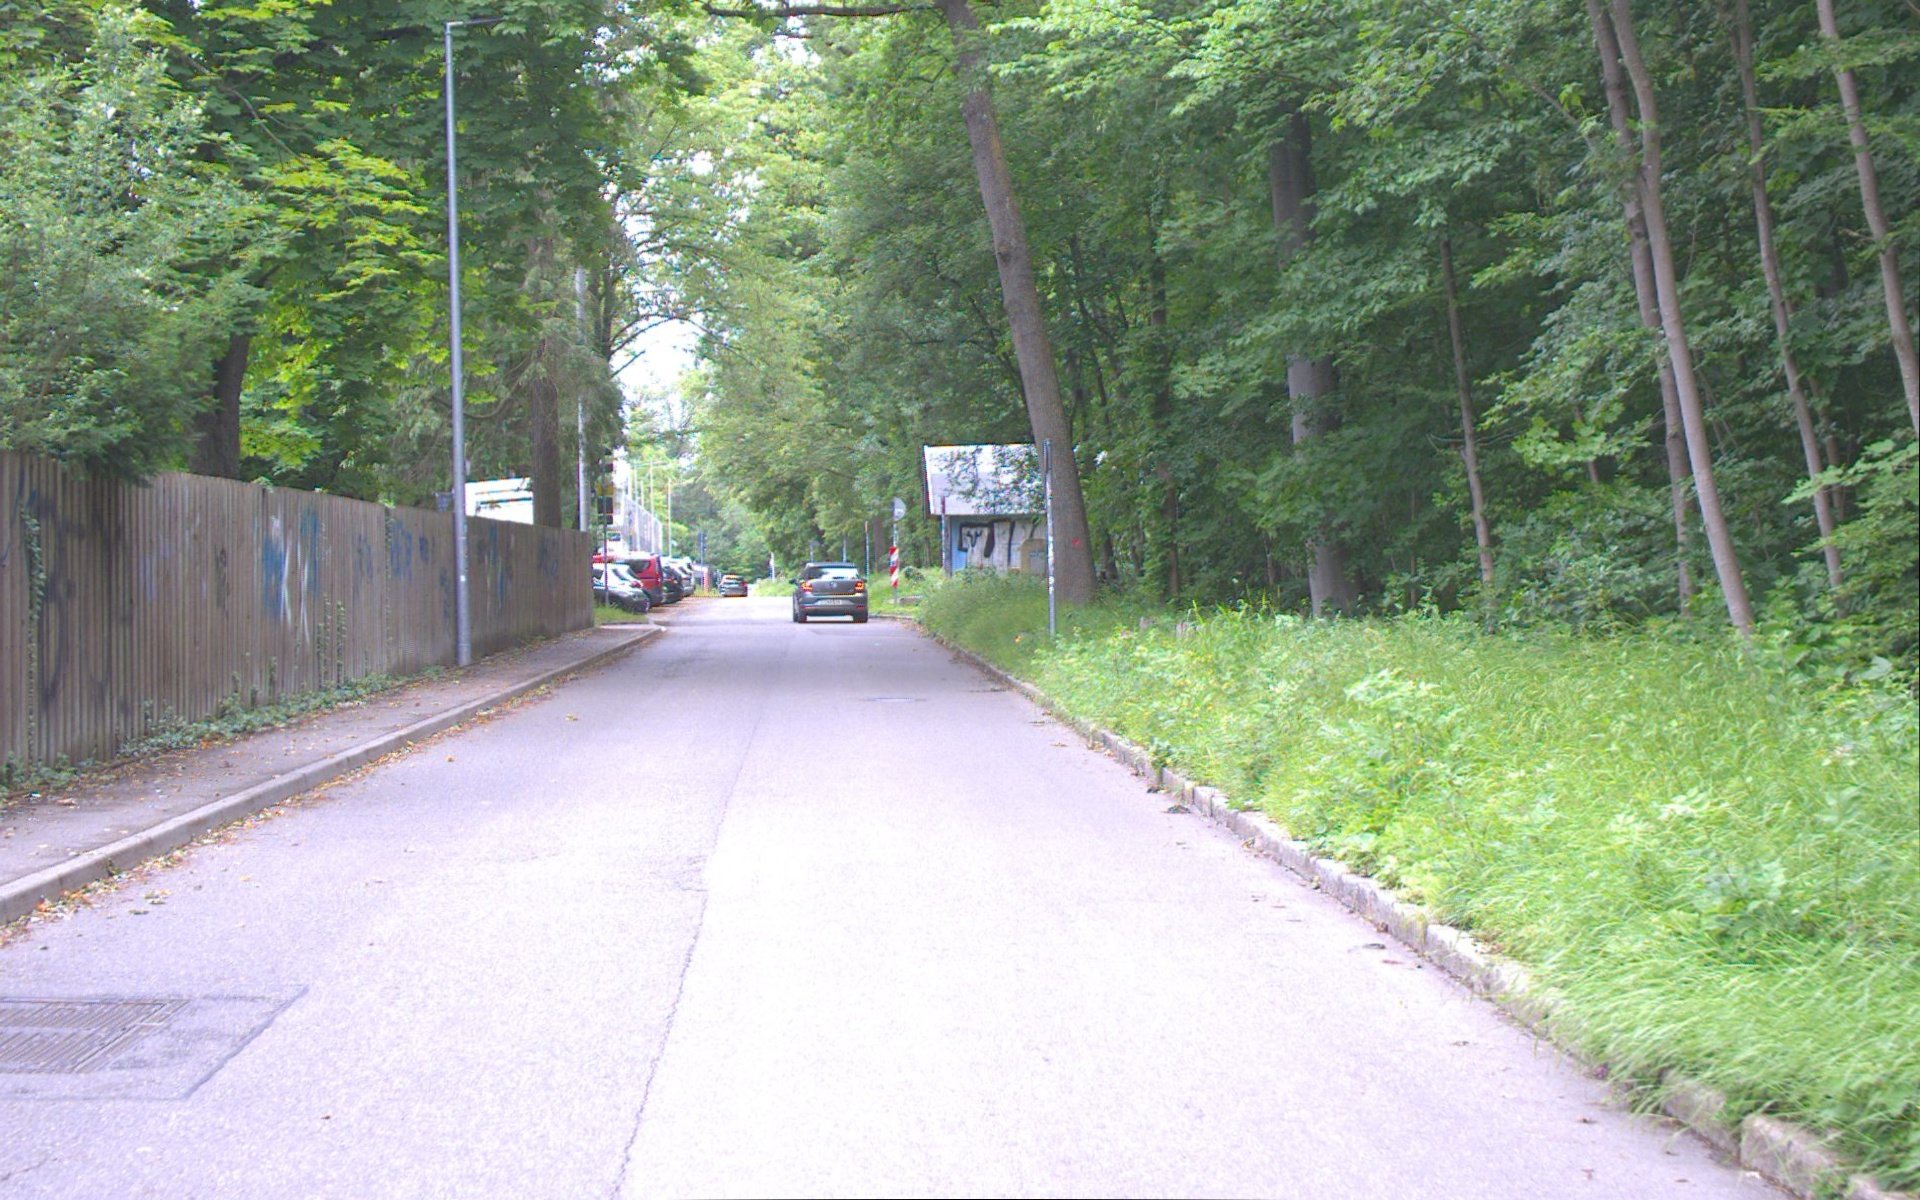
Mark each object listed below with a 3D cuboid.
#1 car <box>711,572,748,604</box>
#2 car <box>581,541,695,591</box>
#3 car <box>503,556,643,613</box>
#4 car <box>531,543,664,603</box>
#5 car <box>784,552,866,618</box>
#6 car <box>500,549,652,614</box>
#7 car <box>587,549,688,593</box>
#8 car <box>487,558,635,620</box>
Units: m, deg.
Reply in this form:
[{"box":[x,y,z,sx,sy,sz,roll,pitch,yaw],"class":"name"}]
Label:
[{"box":[-14.817,-0.767,220.856,1.993,2.007,4.001,-2,1,-8],"class":"car"},{"box":[-11.638,-1.222,124.397,3.986,1.590,1.765,-3,0,-3],"class":"car"},{"box":[-11.305,-0.461,100.615,3.986,1.568,2.000,-2,1,-6],"class":"car"},{"box":[-11.152,-0.828,105.752,3.986,1.744,2.000,-1,1,-6],"class":"car"},{"box":[-3.222,-0.349,82.723,1.908,1.503,4.000,1,0,-1],"class":"car"},{"box":[-10.343,-0.511,92.690,3.986,1.568,2.000,-2,1,-6],"class":"car"},{"box":[-13.159,-1.176,140.431,3.986,1.590,1.765,-3,0,-3],"class":"car"},{"box":[-11.013,-0.313,94.995,3.986,1.568,2.000,-2,1,-6],"class":"car"}]
